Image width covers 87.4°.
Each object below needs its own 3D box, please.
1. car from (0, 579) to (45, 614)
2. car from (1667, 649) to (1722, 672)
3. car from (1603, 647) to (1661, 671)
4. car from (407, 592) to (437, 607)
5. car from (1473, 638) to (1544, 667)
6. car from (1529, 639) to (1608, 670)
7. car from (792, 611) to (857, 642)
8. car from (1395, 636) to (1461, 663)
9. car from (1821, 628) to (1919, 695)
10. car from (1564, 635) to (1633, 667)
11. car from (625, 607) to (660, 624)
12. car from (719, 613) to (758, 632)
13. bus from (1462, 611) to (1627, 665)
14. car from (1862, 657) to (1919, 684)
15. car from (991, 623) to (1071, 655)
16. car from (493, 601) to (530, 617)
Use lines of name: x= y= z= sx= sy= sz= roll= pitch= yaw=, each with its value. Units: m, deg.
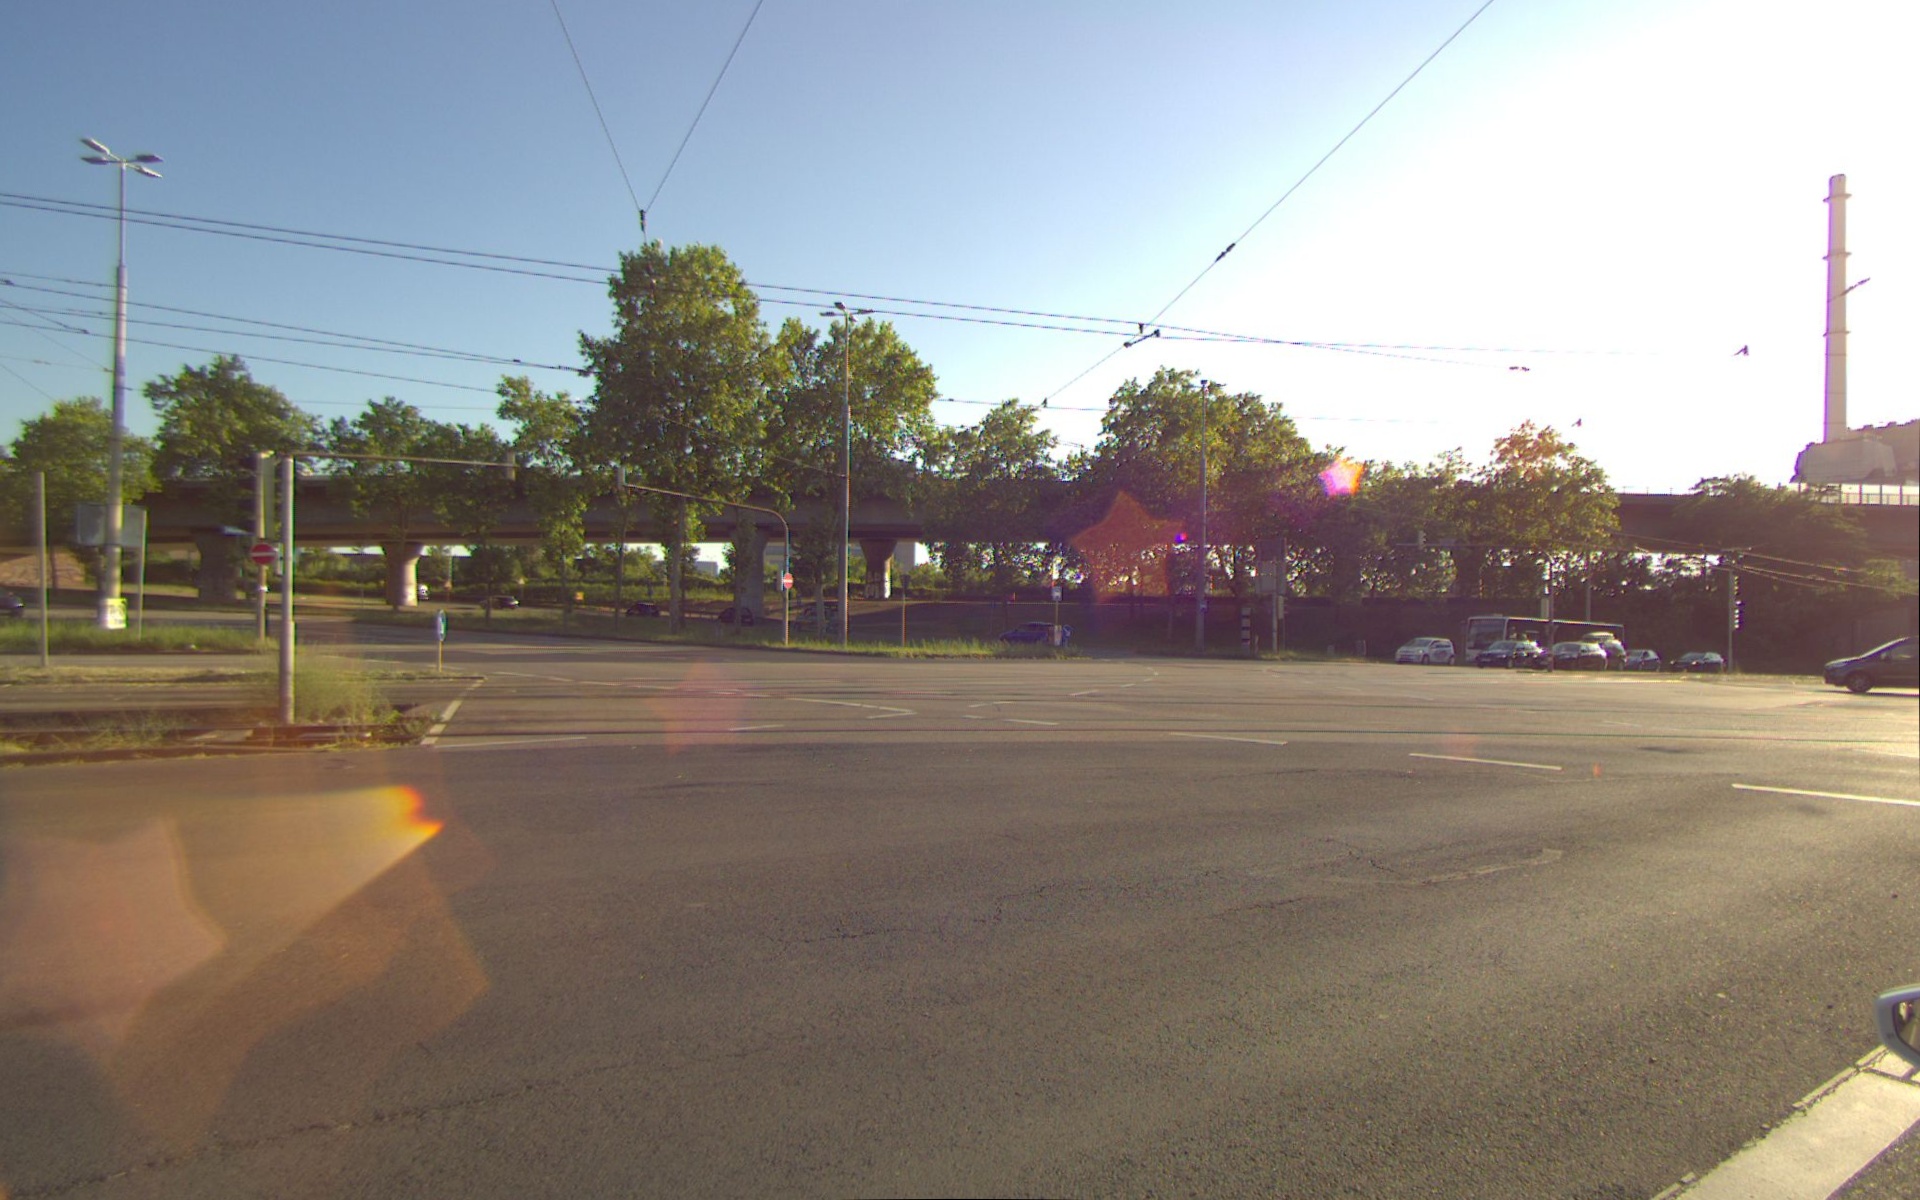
car: x=-44.115 y=-0.144 z=45.938 sx=3.924 sy=1.506 sz=1.999 roll=0 pitch=-1 yaw=25
car: x=50.350 y=4.119 z=68.853 sx=3.956 sy=1.461 sz=1.690 roll=2 pitch=-1 yaw=-32
car: x=44.009 y=3.835 z=65.782 sx=3.956 sy=1.461 sz=1.690 roll=2 pitch=-1 yaw=-32
car: x=-62.546 y=-0.068 z=116.750 sx=1.986 sy=1.644 sz=4.477 roll=3 pitch=0 yaw=-42
car: x=28.131 y=2.686 z=51.521 sx=3.960 sy=1.372 sz=1.594 roll=2 pitch=-1 yaw=-35
car: x=29.860 y=2.676 z=49.288 sx=4.050 sy=1.372 sz=1.701 roll=2 pitch=-1 yaw=-32
car: x=-9.179 y=1.764 z=68.023 sx=1.987 sy=1.930 sz=4.643 roll=3 pitch=-1 yaw=-44
car: x=25.183 y=2.659 z=54.042 sx=3.697 sy=1.372 sz=1.594 roll=2 pitch=-1 yaw=-35
car: x=28.629 y=1.853 z=30.176 sx=4.081 sy=1.892 sz=1.850 roll=1 pitch=-1 yaw=38
car: x=35.499 y=2.858 z=55.834 sx=4.050 sy=1.674 sz=1.701 roll=2 pitch=-1 yaw=-32
car: x=-27.716 y=1.336 z=87.639 sx=1.683 sy=1.441 sz=3.691 roll=2 pitch=-1 yaw=-39
car: x=-18.414 y=1.874 z=83.411 sx=1.683 sy=1.441 sz=3.690 roll=2 pitch=-1 yaw=-40
bus: x=35.292 y=2.327 z=60.400 sx=12.706 sy=2.993 sz=2.808 roll=2 pitch=-1 yaw=-31
car: x=75.606 y=5.672 z=81.447 sx=5.357 sy=2.040 sz=1.986 roll=2 pitch=-1 yaw=-28
car: x=3.787 y=2.097 z=54.035 sx=3.879 sy=1.579 sz=1.989 roll=1 pitch=-1 yaw=43
car: x=-47.596 y=0.906 z=106.557 sx=4.470 sy=1.473 sz=1.989 roll=2 pitch=0 yaw=43
